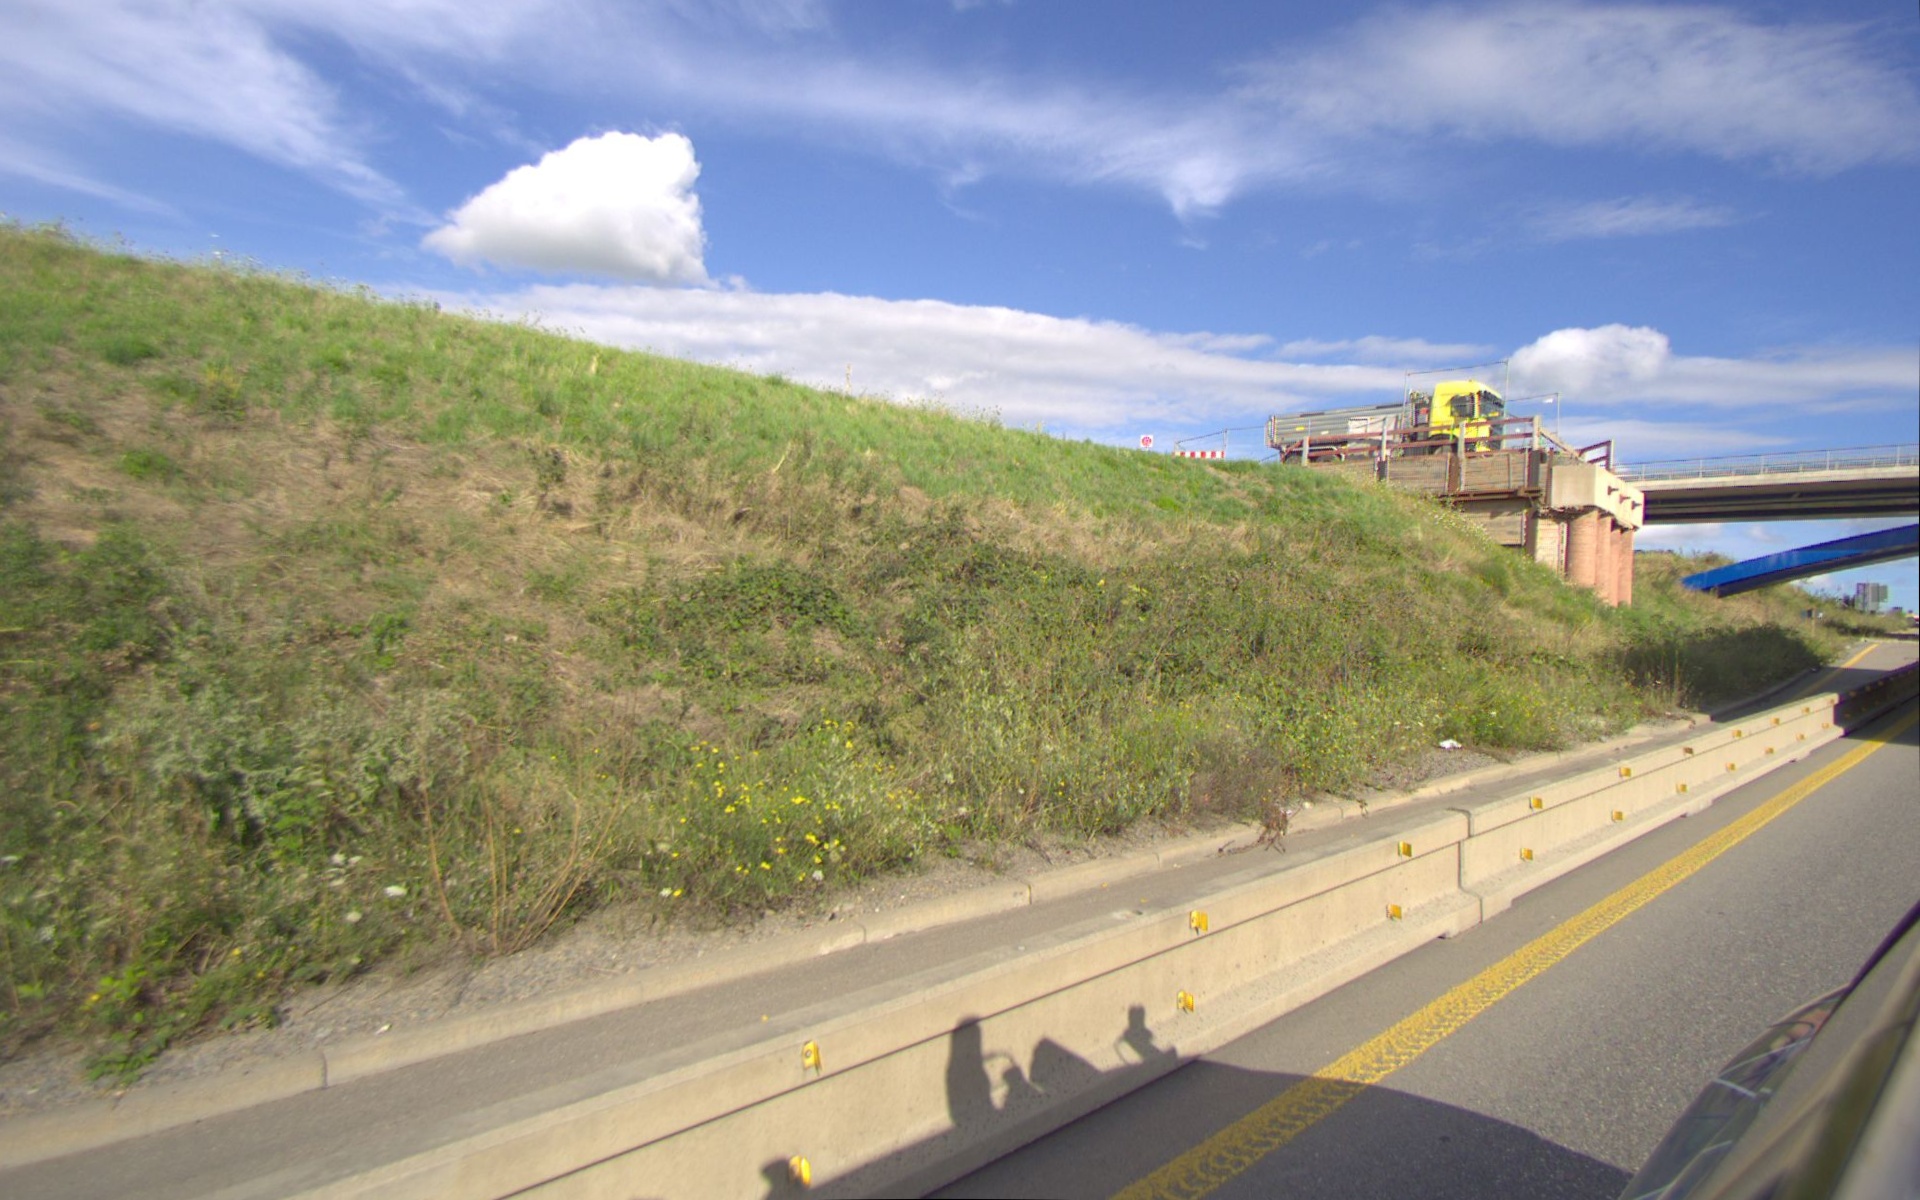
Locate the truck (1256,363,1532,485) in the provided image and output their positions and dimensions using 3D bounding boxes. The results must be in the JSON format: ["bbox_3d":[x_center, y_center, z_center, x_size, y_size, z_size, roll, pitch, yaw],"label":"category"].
[{"bbox_3d":[16.238,-6.462,38.603,2.910,3.268,9.272,1,0,-44],"label":"truck"}]
